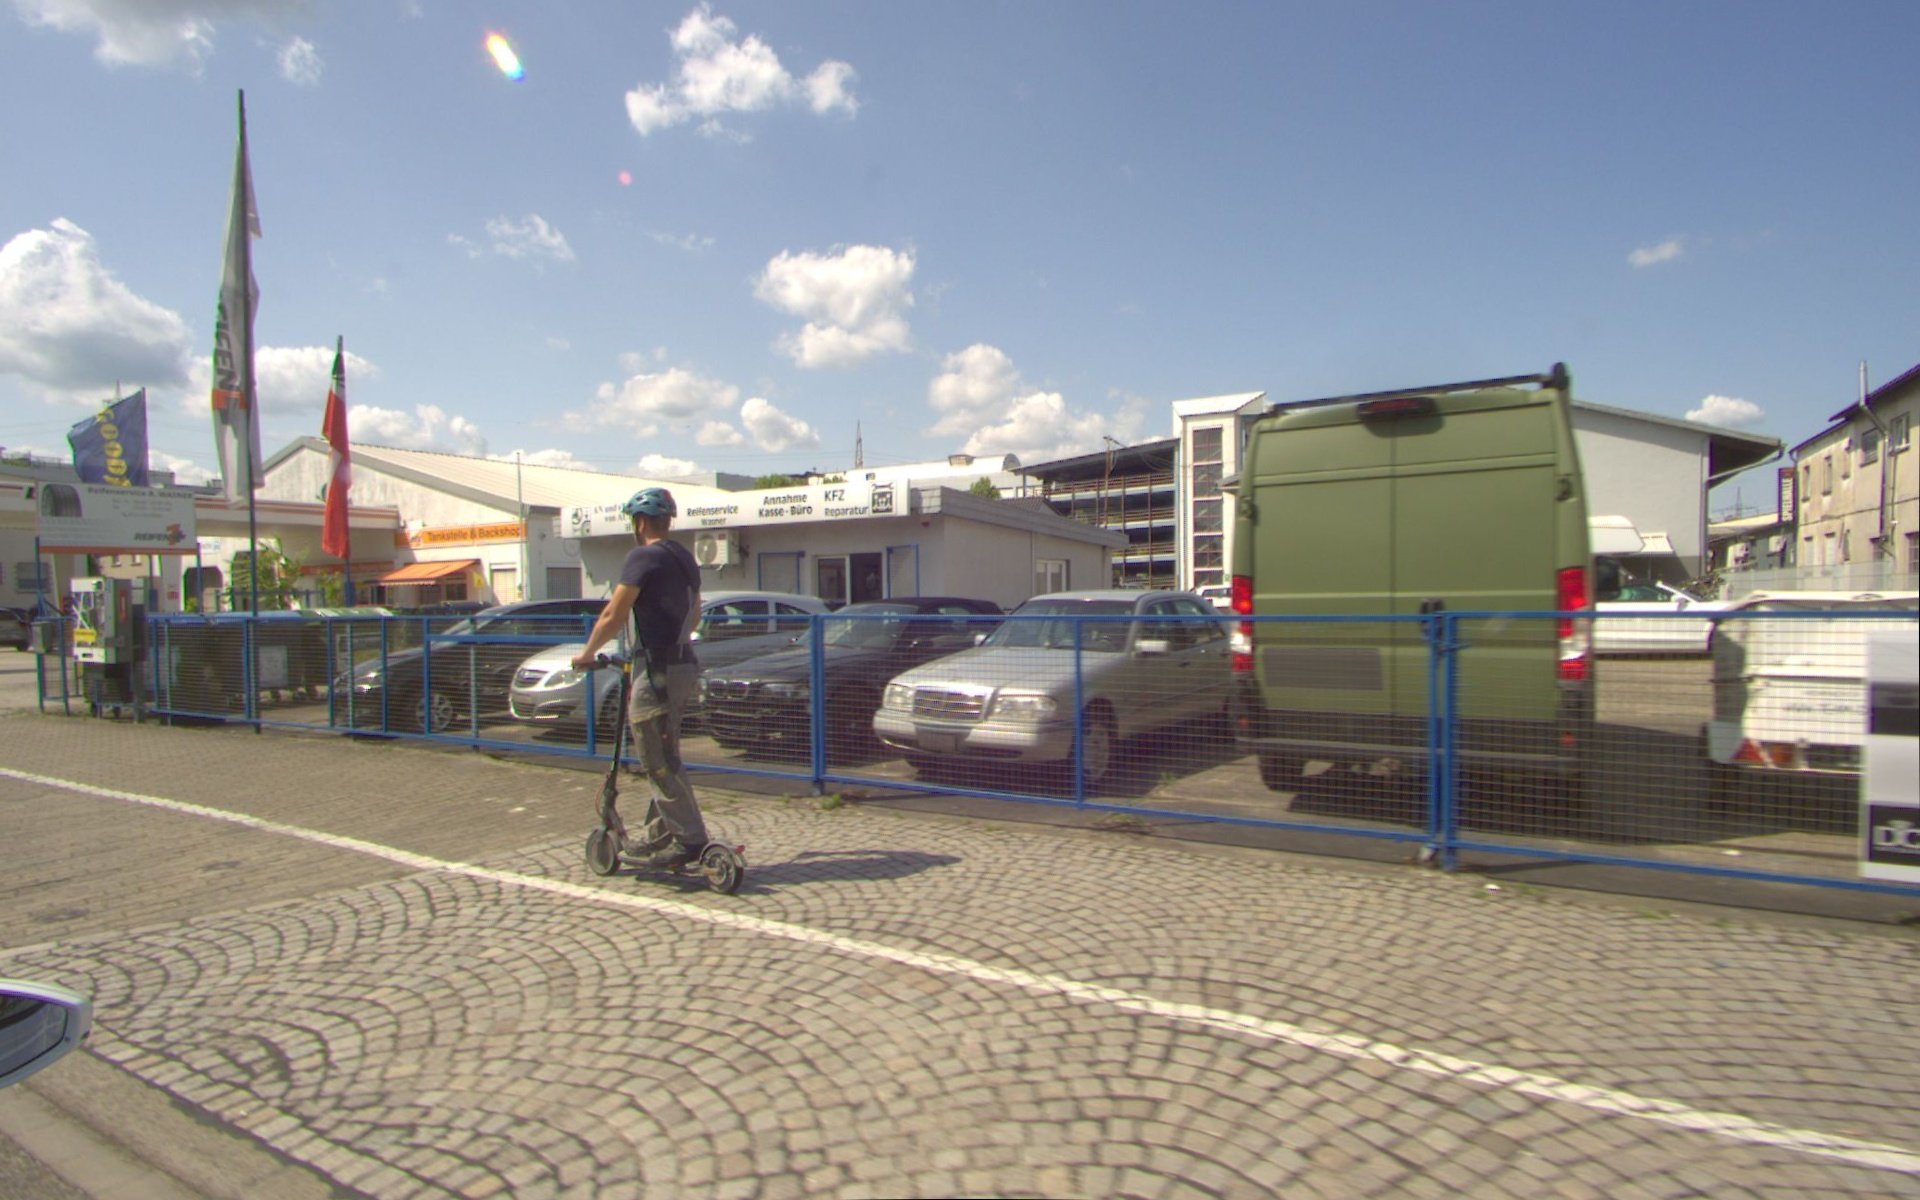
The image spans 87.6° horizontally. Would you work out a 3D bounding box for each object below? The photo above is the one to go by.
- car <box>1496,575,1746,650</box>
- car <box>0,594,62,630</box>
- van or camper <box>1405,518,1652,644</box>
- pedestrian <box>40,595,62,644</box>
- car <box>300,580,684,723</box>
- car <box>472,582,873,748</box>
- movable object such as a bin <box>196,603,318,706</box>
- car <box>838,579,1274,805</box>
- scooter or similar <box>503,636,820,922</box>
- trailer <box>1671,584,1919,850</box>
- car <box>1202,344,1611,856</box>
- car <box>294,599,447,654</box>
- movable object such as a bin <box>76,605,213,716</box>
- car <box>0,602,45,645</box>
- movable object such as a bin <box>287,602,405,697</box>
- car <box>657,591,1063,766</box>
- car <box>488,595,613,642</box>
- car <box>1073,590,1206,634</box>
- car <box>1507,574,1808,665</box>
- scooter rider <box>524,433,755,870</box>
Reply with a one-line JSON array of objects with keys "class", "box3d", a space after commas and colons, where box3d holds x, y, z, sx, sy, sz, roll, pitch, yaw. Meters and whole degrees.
[{"class": "car", "box3d": [13.395, 0.248, 20.605, 4.118, 1.407, 1.919, -1, 1, 30]}, {"class": "car", "box3d": [-47.420, 0.615, 49.569, 1.936, 1.671, 3.980, -1, 1, 30]}, {"class": "van or camper", "box3d": [13.663, -0.398, 24.388, 4.984, 2.810, 2.305, -1, 1, 28]}, {"class": "pedestrian", "box3d": [-31.653, 0.676, 34.859, 0.478, 1.712, 0.395, 0, 2, 32]}, {"class": "car", "box3d": [-5.615, 0.516, 12.301, 3.957, 1.462, 1.695, -1, 1, -42]}, {"class": "car", "box3d": [-3.067, 0.580, 11.209, 3.960, 1.516, 1.733, -1, 1, -44]}, {"class": "movable object such as a bin", "box3d": [-10.697, 0.801, 15.267, 0.812, 1.464, 1.253, -1, 1, 31]}, {"class": "car", "box3d": [1.066, 0.573, 8.631, 1.797, 1.450, 4.167, -1, 1, 38]}, {"class": "scooter or similar", "box3d": [-1.514, 0.805, 4.998, 1.587, 1.211, 0.539, -1, 3, 31]}, {"class": "trailer", "box3d": [5.512, 0.587, 6.458, 1.284, 1.351, 2.776, 1, 2, 31]}, {"class": "car", "box3d": [3.627, -0.047, 7.587, 2.121, 2.608, 4.525, -1, 2, 32]}, {"class": "car", "box3d": [-16.507, 0.704, 28.166, 1.588, 1.379, 3.313, -1, 1, 31]}, {"class": "movable object such as a bin", "box3d": [-11.493, 0.820, 14.142, 0.812, 1.464, 1.253, -1, 1, 31]}, {"class": "car", "box3d": [-33.783, 0.829, 34.633, 3.939, 1.439, 1.956, -1, 1, 29]}, {"class": "movable object such as a bin", "box3d": [-10.041, 0.784, 16.419, 0.939, 1.464, 1.320, -1, 1, 24]}, {"class": "car", "box3d": [-0.811, 0.622, 10.086, 1.798, 1.374, 3.969, -1, 1, 39]}, {"class": "car", "box3d": [-13.241, 0.571, 32.546, 1.588, 1.379, 3.489, -1, 1, 31]}, {"class": "car", "box3d": [6.191, 0.435, 34.603, 4.118, 1.407, 1.919, -1, 1, 30]}, {"class": "car", "box3d": [11.868, 0.323, 17.419, 4.118, 1.435, 1.750, -1, 1, 30]}, {"class": "scooter rider", "box3d": [-1.608, 0.243, 5.069, 0.774, 1.989, 0.715, -1, 1, 31]}]
